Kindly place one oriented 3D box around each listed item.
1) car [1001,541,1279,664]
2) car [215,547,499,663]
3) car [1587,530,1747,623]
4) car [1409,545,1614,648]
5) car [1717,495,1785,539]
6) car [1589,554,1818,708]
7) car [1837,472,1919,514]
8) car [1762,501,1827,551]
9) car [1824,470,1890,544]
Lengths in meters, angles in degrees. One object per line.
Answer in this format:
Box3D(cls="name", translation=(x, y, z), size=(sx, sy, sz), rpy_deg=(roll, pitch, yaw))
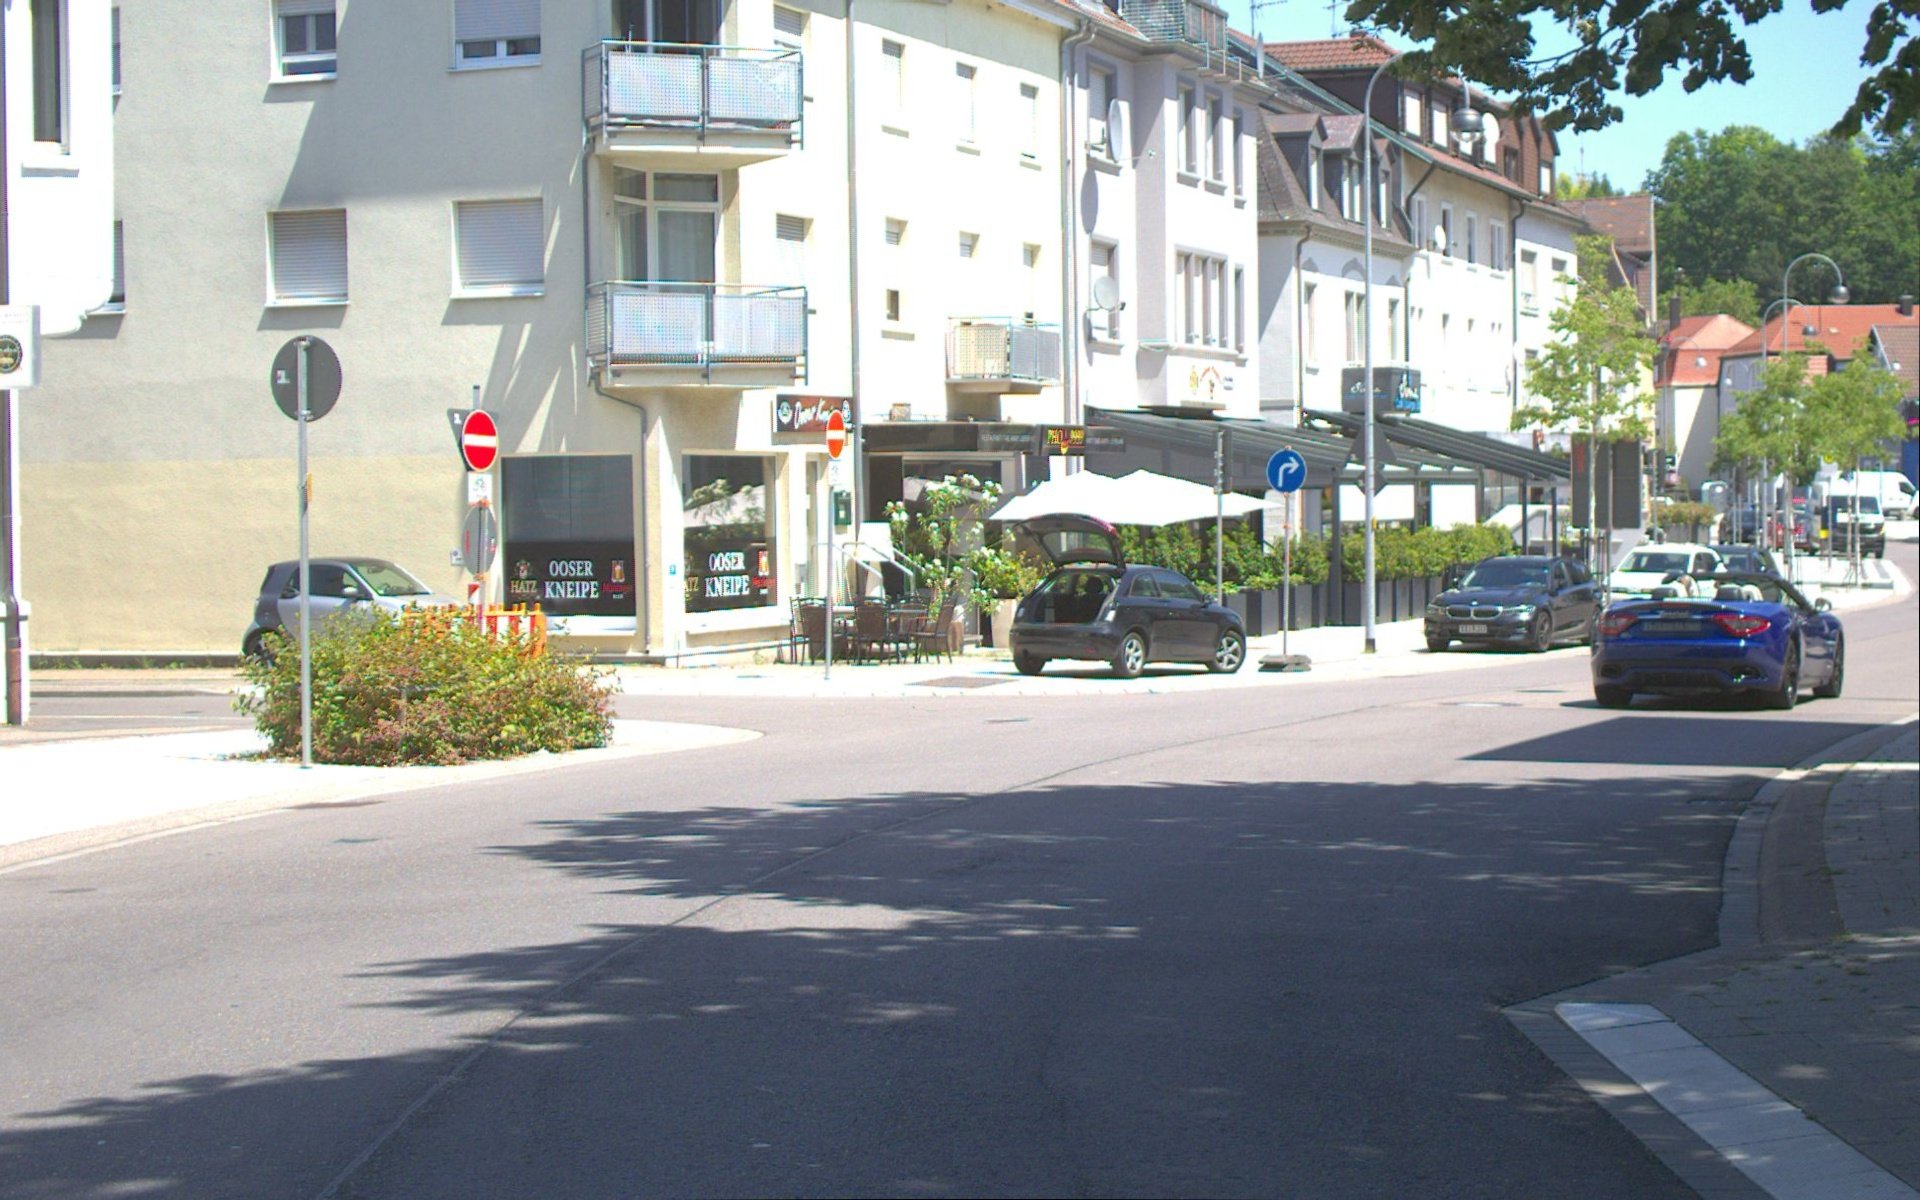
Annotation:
Box3D(cls="car", translation=(2.386, 0.002, 44.582), size=(1.716, 1.455, 4.122), rpy_deg=(3, 2, 33))
Box3D(cls="car", translation=(-7.981, 0.065, 45.584), size=(3.265, 1.453, 1.690), rpy_deg=(0, 2, 19))
Box3D(cls="car", translation=(12.445, -0.441, 60.349), size=(1.647, 1.474, 3.935), rpy_deg=(2, 3, 28))
Box3D(cls="car", translation=(8.650, -0.093, 53.625), size=(1.837, 1.424, 4.776), rpy_deg=(1, 2, 26))
Box3D(cls="car", translation=(31.163, -3.294, 135.495), size=(1.994, 1.686, 4.000), rpy_deg=(0, 2, 4))
Box3D(cls="car", translation=(7.509, 0.258, 34.423), size=(1.872, 1.337, 4.592), rpy_deg=(1, 2, 17))
Box3D(cls="car", translation=(47.679, -5.505, 177.469), size=(4.257, 2.007, 2.000), rpy_deg=(0, -1, -20))
Box3D(cls="car", translation=(29.890, -2.657, 123.191), size=(1.994, 1.732, 3.998), rpy_deg=(-1, 1, 10))
Box3D(cls="car", translation=(29.682, -3.091, 113.854), size=(1.868, 2.392, 4.816), rpy_deg=(-1, 2, 12))
